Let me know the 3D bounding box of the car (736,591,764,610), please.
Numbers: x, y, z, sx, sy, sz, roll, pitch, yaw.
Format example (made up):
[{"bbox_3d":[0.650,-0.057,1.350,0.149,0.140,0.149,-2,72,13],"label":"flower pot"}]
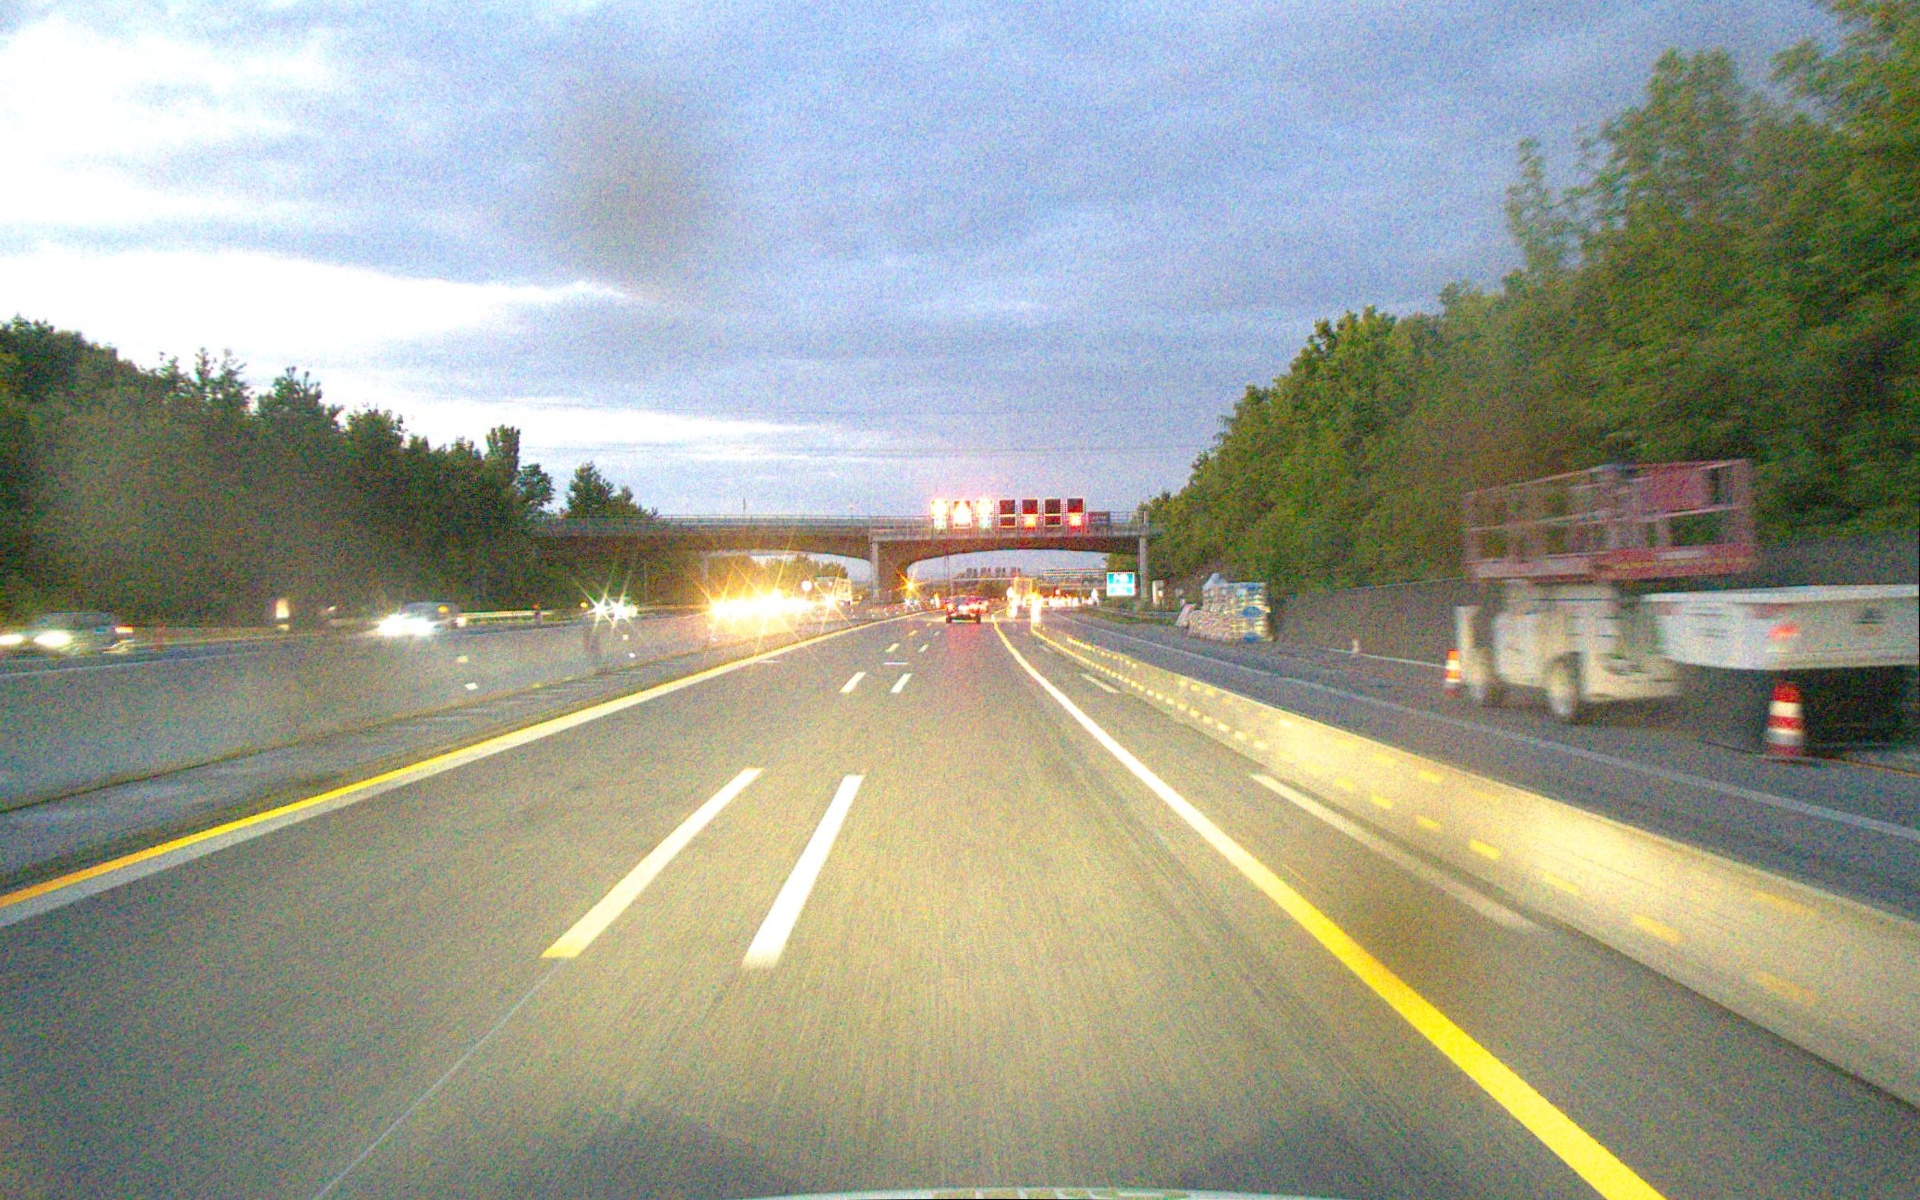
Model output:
[{"bbox_3d":[-19.619,0.035,154.709,1.700,1.666,5.172,1,0,2],"label":"car"}]

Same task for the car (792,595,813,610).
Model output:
[{"bbox_3d":[-17.233,0.275,180.886,1.558,1.632,5.036,1,0,3],"label":"car"}]

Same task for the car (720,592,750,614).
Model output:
[{"bbox_3d":[-18.147,0.222,133.492,1.644,1.666,4.752,1,0,2],"label":"car"}]

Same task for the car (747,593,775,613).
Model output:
[{"bbox_3d":[-17.731,0.263,147.547,1.767,1.666,4.752,1,0,2],"label":"car"}]

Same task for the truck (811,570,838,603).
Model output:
[{"bbox_3d":[-17.946,-1.818,219.248,2.719,4.244,6.388,1,0,3],"label":"truck"}]

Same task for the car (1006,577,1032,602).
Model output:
[{"bbox_3d":[8.506,-1.464,238.613,3.531,3.455,8.014,1,0,0],"label":"car"}]

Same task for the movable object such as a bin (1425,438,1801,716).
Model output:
[{"bbox_3d":[8.299,-0.269,21.847,2.567,3.162,5.804,-1,0,-1],"label":"movable object such as a bin"}]

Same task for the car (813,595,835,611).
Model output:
[{"bbox_3d":[-14.611,0.314,177.837,1.700,1.666,4.892,1,0,2],"label":"car"}]

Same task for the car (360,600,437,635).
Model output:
[{"bbox_3d":[-25.505,0.765,75.230,1.773,1.511,4.702,1,0,1],"label":"car"}]

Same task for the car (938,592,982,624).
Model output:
[{"bbox_3d":[-0.020,0.427,88.381,2.219,1.649,3.999,1,0,-1],"label":"car"}]

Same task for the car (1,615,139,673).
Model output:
[{"bbox_3d":[-25.691,1.225,47.893,1.630,1.534,4.179,1,0,1],"label":"car"}]

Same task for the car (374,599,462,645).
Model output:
[{"bbox_3d":[-21.947,0.866,67.120,1.861,1.768,4.808,1,0,1],"label":"car"}]

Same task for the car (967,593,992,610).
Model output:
[{"bbox_3d":[1.764,0.174,149.109,1.930,1.462,4.002,1,0,4],"label":"car"}]

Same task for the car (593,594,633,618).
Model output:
[{"bbox_3d":[-25.138,0.408,119.895,1.767,1.666,4.752,1,0,2],"label":"car"}]

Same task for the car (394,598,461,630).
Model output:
[{"bbox_3d":[-26.987,0.689,84.005,1.788,1.511,4.702,1,0,1],"label":"car"}]

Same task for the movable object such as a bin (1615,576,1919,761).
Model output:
[{"bbox_3d":[8.501,0.616,16.888,1.953,1.629,4.084,-2,0,0],"label":"movable object such as a bin"}]
